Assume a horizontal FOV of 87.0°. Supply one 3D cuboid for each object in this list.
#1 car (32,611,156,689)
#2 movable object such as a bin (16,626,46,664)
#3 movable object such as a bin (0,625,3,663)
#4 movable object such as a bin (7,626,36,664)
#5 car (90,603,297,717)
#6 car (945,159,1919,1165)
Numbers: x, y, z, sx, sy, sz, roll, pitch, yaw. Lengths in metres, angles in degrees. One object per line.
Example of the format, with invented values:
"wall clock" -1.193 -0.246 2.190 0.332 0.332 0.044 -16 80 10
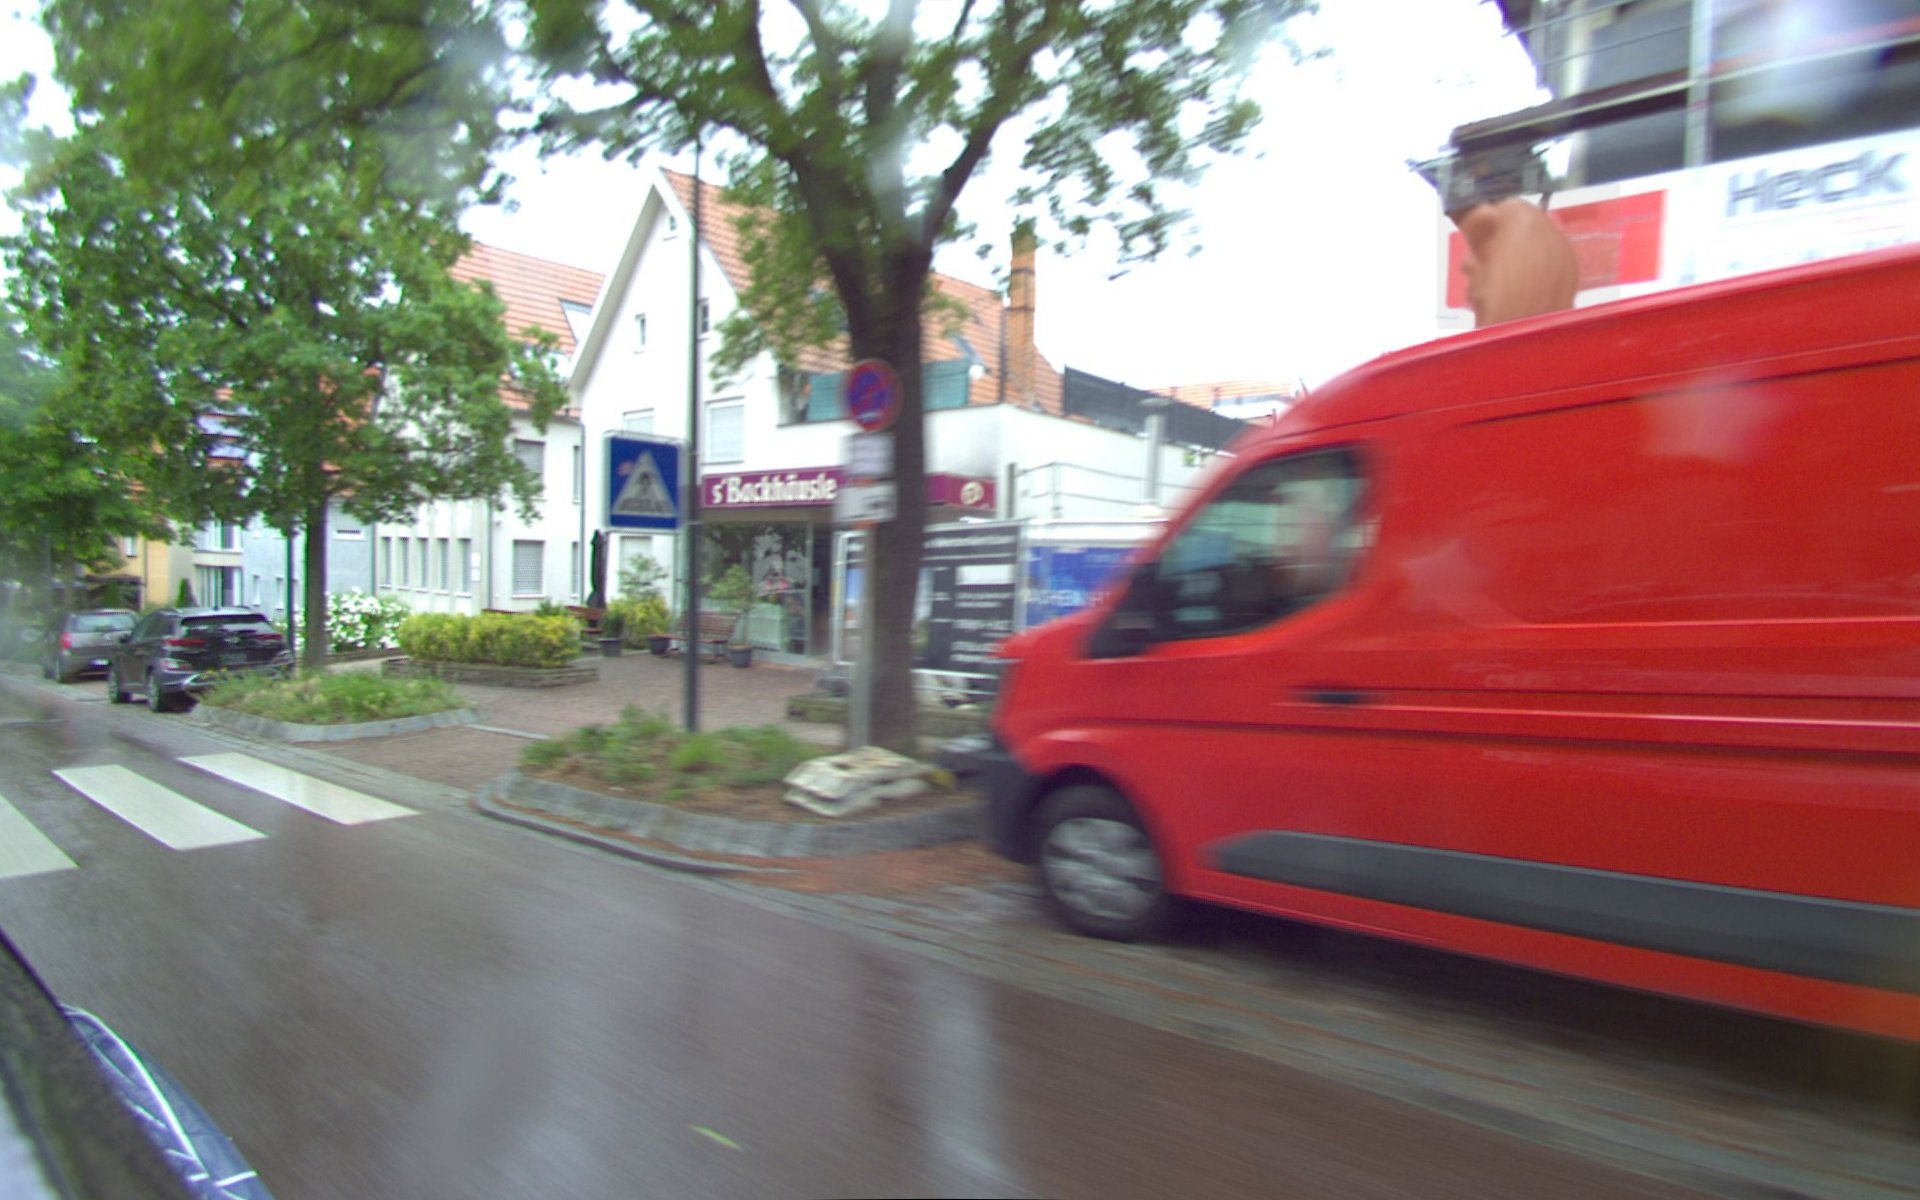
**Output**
"car" -19.432 1.060 22.657 3.865 1.544 1.629 -1 1 43
"movable object such as a bin" -27.618 1.334 30.090 0.564 1.119 0.604 -1 -1 42
"movable object such as a bin" -28.773 1.310 29.953 0.536 1.119 0.636 -1 -1 42
"movable object such as a bin" -28.193 1.352 30.393 0.564 1.119 0.604 -1 -1 42
"car" -12.537 0.894 16.475 3.996 1.565 1.754 -1 2 39
"car" 2.826 0.153 3.671 5.785 2.502 2.278 -2 -1 43
